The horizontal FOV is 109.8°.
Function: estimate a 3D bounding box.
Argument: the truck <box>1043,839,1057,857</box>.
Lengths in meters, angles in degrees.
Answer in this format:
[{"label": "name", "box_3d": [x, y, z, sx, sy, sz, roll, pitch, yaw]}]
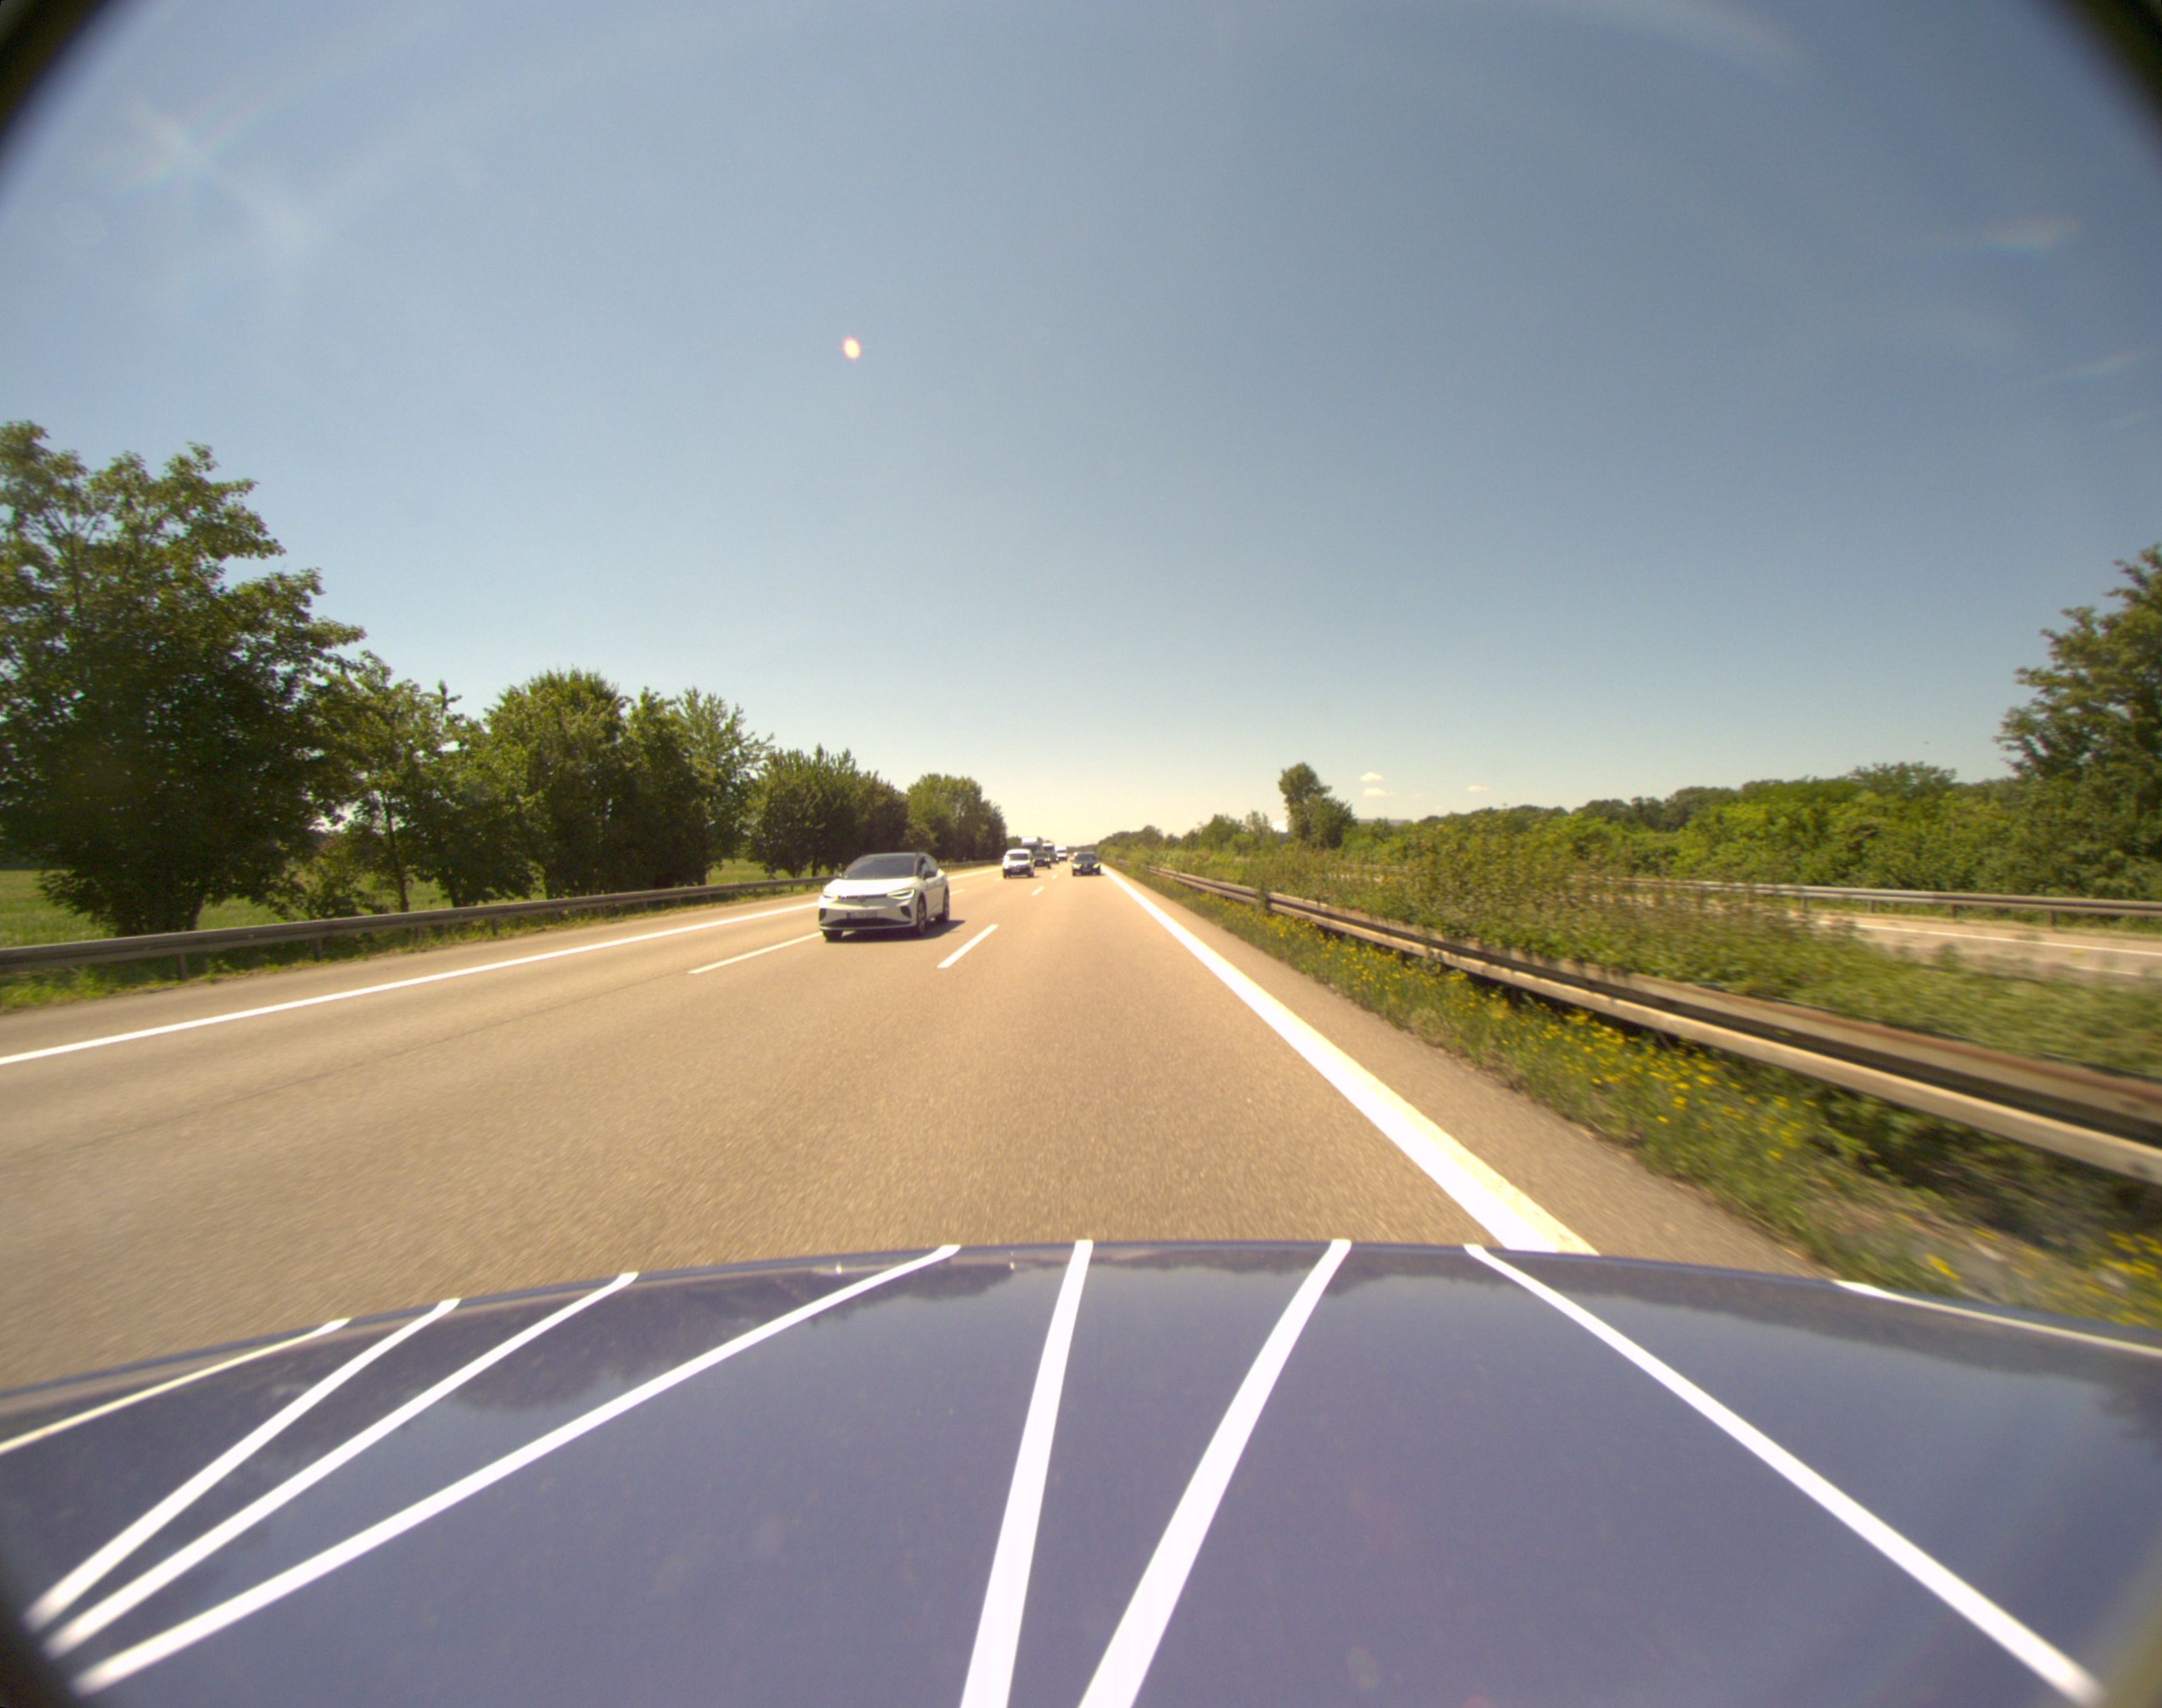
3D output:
[{"label": "truck", "box_3d": [-7.419, -1.542, 182.200, 2.797, 4.180, 10.806, -1, 1, 1]}]

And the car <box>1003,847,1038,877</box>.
[{"label": "car", "box_3d": [-3.884, 0.464, 49.495, 1.887, 1.861, 4.467, -1, 1, 1]}]

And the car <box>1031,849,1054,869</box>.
[{"label": "car", "box_3d": [-3.696, 0.483, 73.394, 1.887, 1.861, 4.467, -1, 1, 1]}]

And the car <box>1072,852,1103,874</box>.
[{"label": "car", "box_3d": [0.427, 0.562, 49.912, 1.887, 1.341, 4.467, -1, 1, 1]}]

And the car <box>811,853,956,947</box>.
[{"label": "car", "box_3d": [-3.892, 0.830, 15.731, 1.887, 1.634, 4.000, -1, 1, 1]}]

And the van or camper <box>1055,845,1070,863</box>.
[{"label": "van or camper", "box_3d": [-3.101, -0.069, 126.659, 2.198, 2.796, 6.999, -1, 1, 1]}]

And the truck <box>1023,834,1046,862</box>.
[{"label": "truck", "box_3d": [-7.221, -0.960, 119.460, 2.797, 4.180, 10.806, -1, 1, 1]}]

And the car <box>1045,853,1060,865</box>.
[{"label": "car", "box_3d": [-3.811, 0.630, 100.849, 1.887, 1.557, 4.466, -1, 1, -2]}]
